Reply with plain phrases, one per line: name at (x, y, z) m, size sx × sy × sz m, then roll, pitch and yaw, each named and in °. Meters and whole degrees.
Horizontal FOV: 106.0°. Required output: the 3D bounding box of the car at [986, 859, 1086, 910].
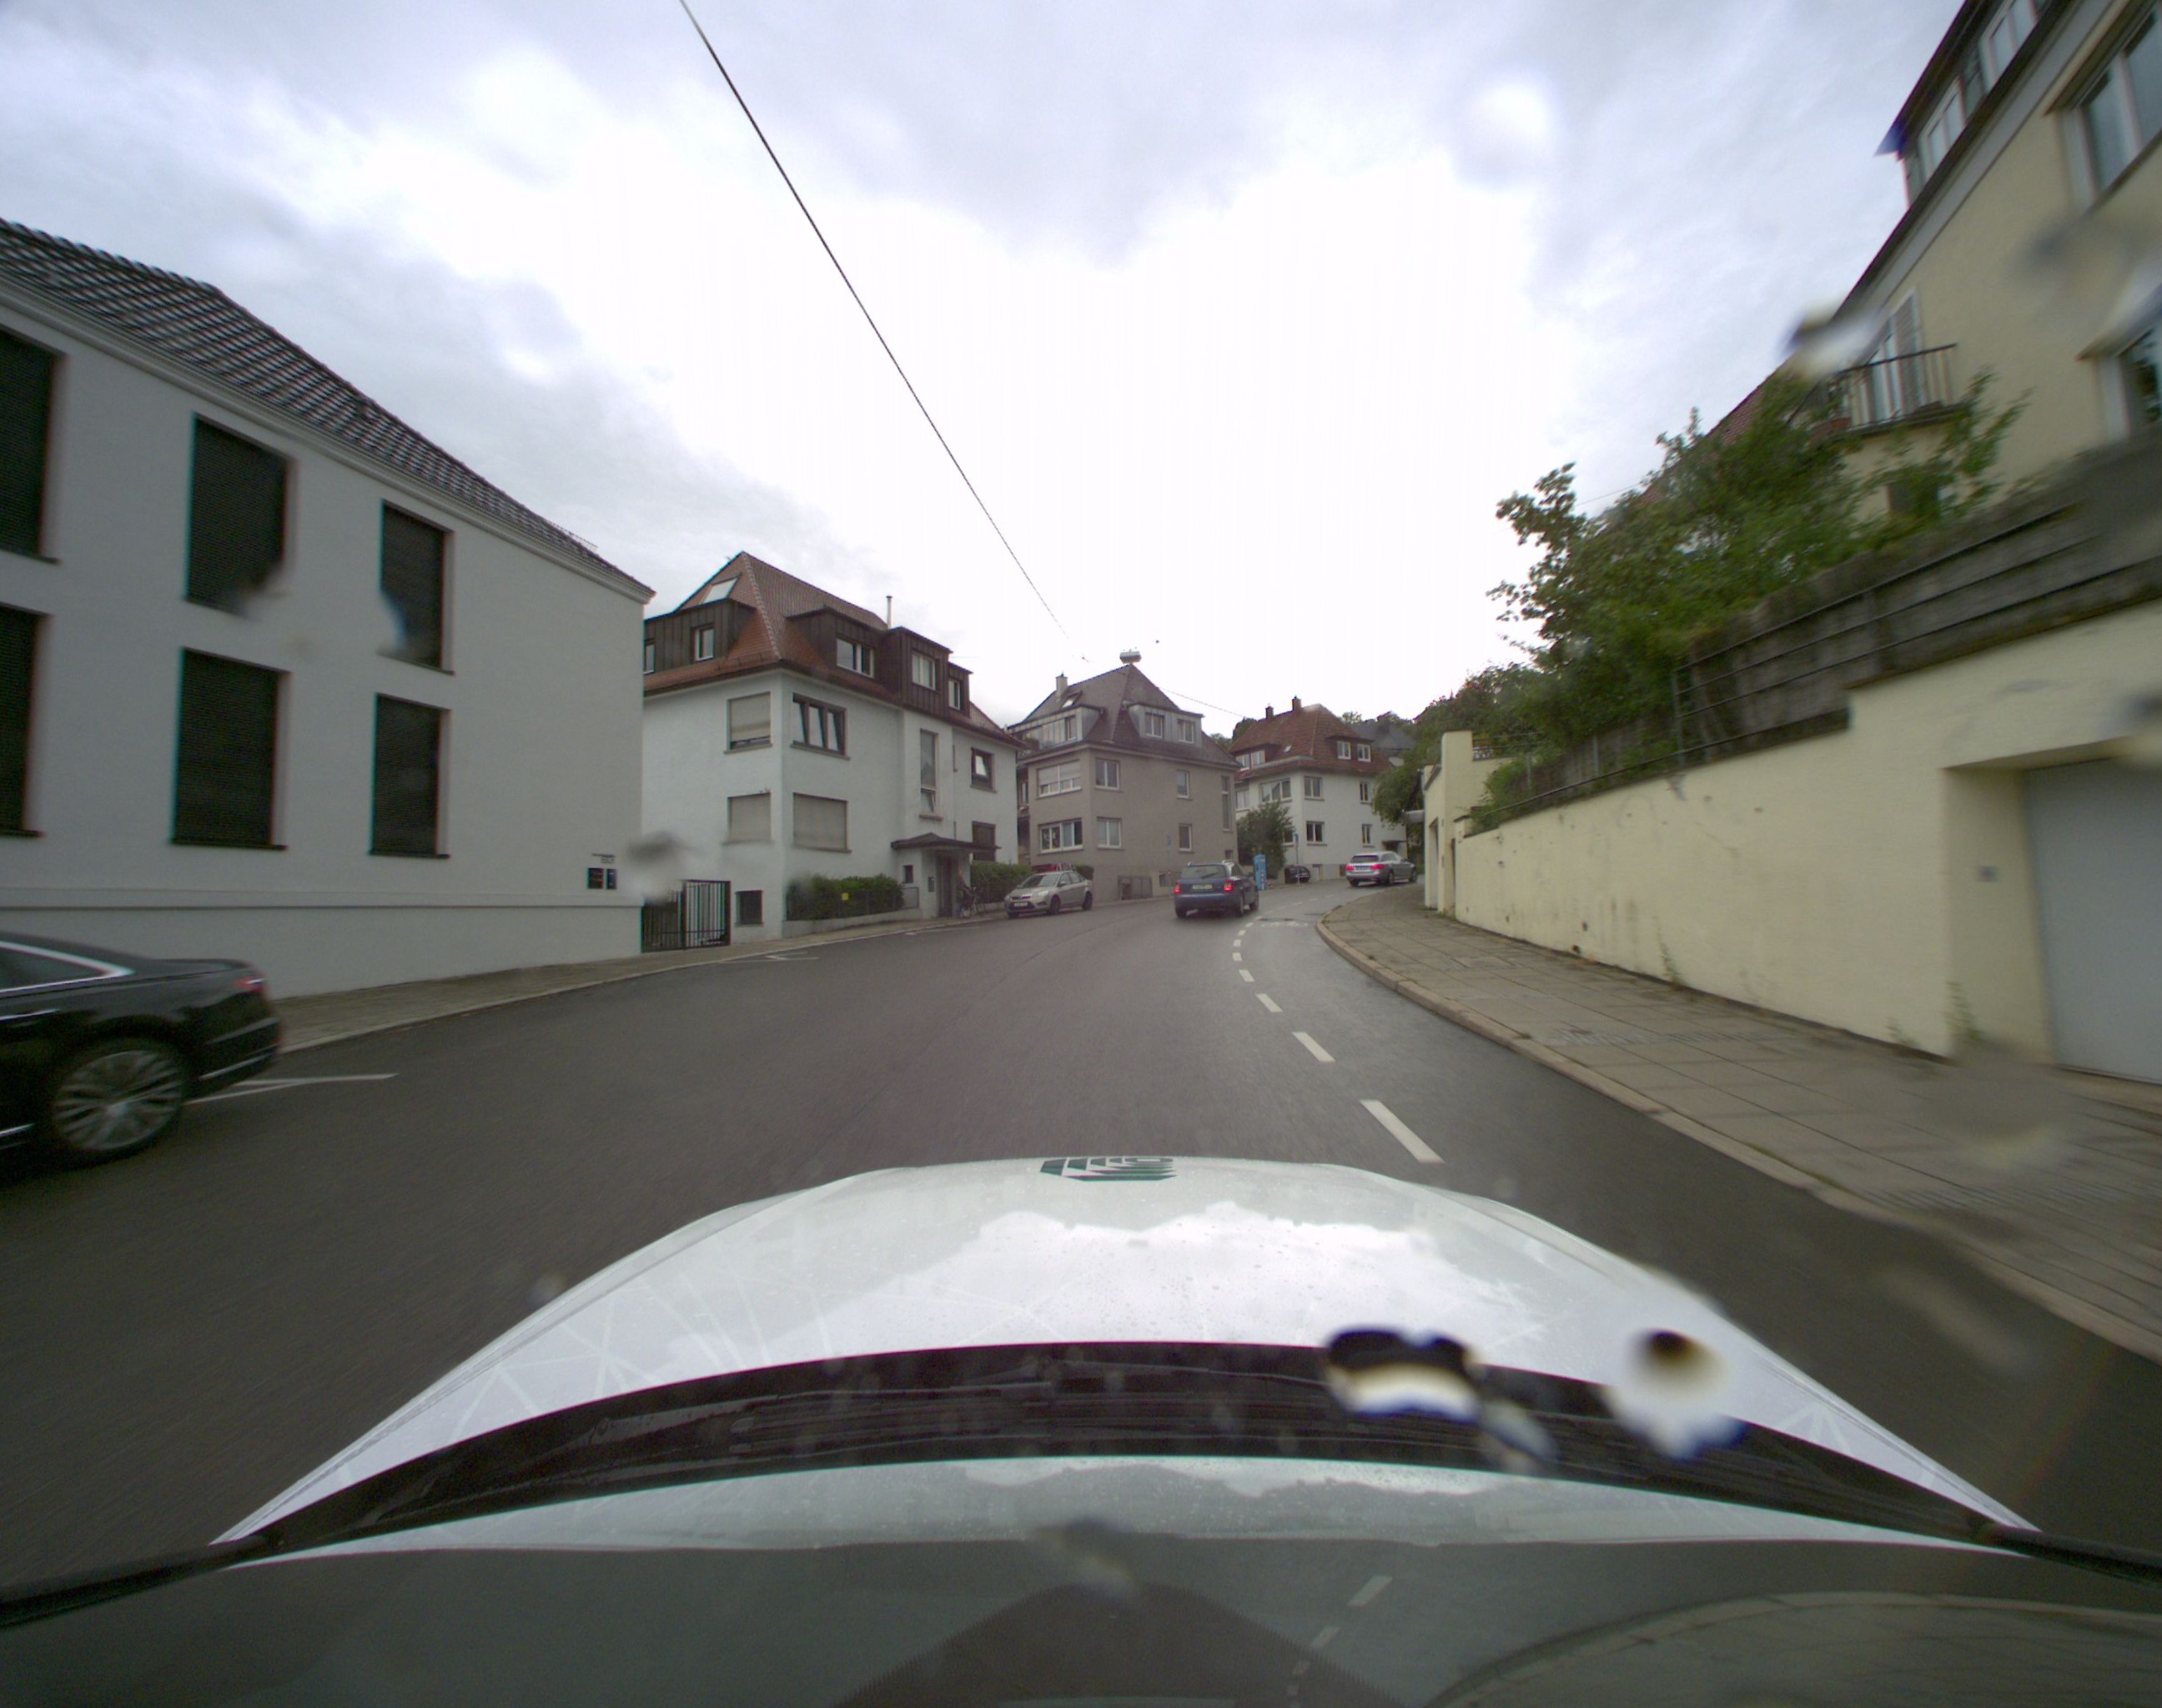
car at (-2.066, 1.393, 37.321) m, size 3.948 × 1.823 × 2.013 m, roll -9°, pitch -4°, yaw 30°

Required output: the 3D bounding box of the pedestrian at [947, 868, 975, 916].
pedestrian at (-4.084, 1.294, 27.779) m, size 0.488 × 1.577 × 0.952 m, roll -3°, pitch -1°, yaw 21°

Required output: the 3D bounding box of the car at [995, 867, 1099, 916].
car at (-1.105, 1.266, 28.508) m, size 1.819 × 1.425 × 4.254 m, roll -5°, pitch -2°, yaw 24°

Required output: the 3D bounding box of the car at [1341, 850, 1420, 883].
car at (13.114, 0.572, 35.525) m, size 1.794 × 1.361 × 4.024 m, roll -2°, pitch -3°, yaw 43°

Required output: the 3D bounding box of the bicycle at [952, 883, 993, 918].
bicycle at (-3.657, 1.552, 27.562) m, size 0.452 × 1.067 × 1.931 m, roll -3°, pitch -1°, yaw 21°

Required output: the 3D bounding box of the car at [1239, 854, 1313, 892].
car at (12.339, 1.248, 51.828) m, size 2.008 × 1.624 × 4.209 m, roll -3°, pitch -9°, yaw -33°

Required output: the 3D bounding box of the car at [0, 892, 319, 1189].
car at (-6.667, 1.051, 3.490) m, size 1.820 × 1.486 × 4.996 m, roll -3°, pitch -1°, yaw 4°

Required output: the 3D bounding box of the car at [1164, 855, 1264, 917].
car at (3.695, 0.795, 22.057) m, size 1.796 × 1.439 × 4.102 m, roll -4°, pitch -2°, yaw 21°
